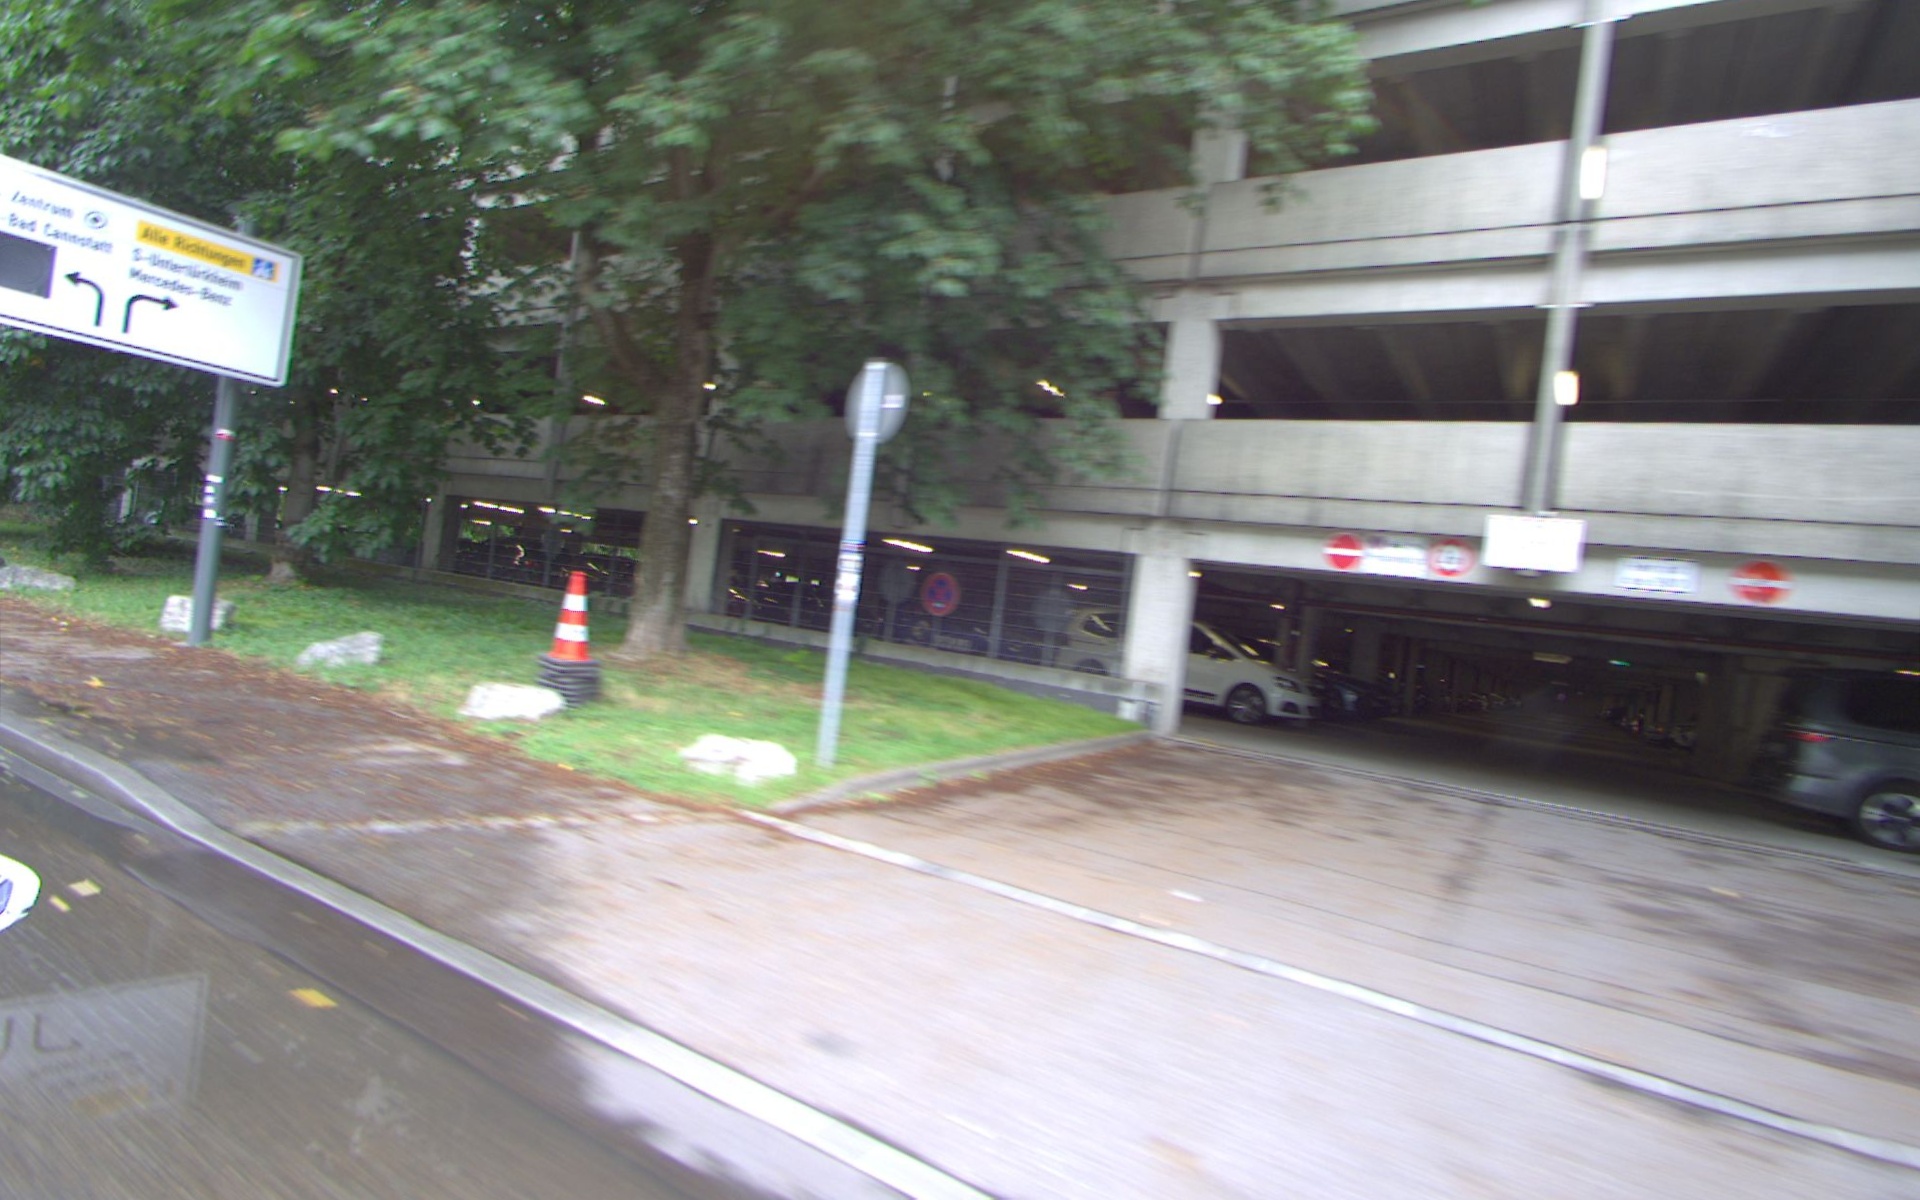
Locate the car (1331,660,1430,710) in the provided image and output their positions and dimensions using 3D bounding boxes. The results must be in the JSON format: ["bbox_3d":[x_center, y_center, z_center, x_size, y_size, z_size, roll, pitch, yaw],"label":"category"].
[{"bbox_3d":[15.715,3.184,37.645,3.151,1.444,1.512,6,-2,30],"label":"car"}]

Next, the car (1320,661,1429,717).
[{"bbox_3d":[13.683,2.930,33.233,3.058,1.444,1.442,6,-2,30],"label":"car"}]

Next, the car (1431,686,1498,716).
[{"bbox_3d":[27.977,5.579,55.777,3.151,1.225,1.512,6,-2,30],"label":"car"}]

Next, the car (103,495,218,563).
[{"bbox_3d":[-24.776,-2.222,31.137,3.658,1.728,1.483,5,-2,32],"label":"car"}]

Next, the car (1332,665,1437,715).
[{"bbox_3d":[14.909,3.151,35.333,3.151,1.350,1.512,6,-2,30],"label":"car"}]

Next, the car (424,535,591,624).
[{"bbox_3d":[-13.167,-0.601,29.204,4.597,2.037,1.998,5,-2,31],"label":"car"}]

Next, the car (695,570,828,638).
[{"bbox_3d":[-6.078,0.119,30.768,3.639,1.626,1.720,6,-2,30],"label":"car"}]

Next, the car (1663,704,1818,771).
[{"bbox_3d":[21.788,3.812,28.234,3.151,1.375,1.512,6,-2,30],"label":"car"}]

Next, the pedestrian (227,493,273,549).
[{"bbox_3d":[-18.329,-2.033,25.984,0.626,1.333,0.642,6,-2,31],"label":"pedestrian"}]

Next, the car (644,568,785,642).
[{"bbox_3d":[-7.125,0.144,29.151,3.639,1.699,1.720,6,-2,30],"label":"car"}]

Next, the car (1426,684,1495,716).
[{"bbox_3d":[26.726,5.338,53.713,3.151,1.225,1.512,6,-2,30],"label":"car"}]

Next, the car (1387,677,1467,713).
[{"bbox_3d":[21.521,4.356,46.349,3.151,1.225,1.512,6,-2,30],"label":"car"}]

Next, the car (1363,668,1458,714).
[{"bbox_3d":[17.504,3.541,39.107,3.151,1.380,1.512,6,-2,30],"label":"car"}]

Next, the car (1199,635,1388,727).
[{"bbox_3d":[7.458,1.791,22.521,3.639,1.563,1.720,6,-2,30],"label":"car"}]

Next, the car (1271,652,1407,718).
[{"bbox_3d":[11.817,2.650,31.369,3.639,1.563,1.720,6,-2,30],"label":"car"}]

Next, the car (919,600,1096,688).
[{"bbox_3d":[1.098,1.022,23.536,3.639,1.563,1.720,6,-2,30],"label":"car"}]

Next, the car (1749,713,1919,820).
[{"bbox_3d":[16.134,2.940,17.185,3.937,1.469,1.874,5,-3,35],"label":"car"}]

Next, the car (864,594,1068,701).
[{"bbox_3d":[0.094,0.972,20.787,3.794,1.728,1.589,5,-2,32],"label":"car"}]

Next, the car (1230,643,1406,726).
[{"bbox_3d":[8.609,2.012,24.219,3.639,1.484,1.720,6,-2,30],"label":"car"}]

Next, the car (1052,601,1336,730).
[{"bbox_3d":[4.143,1.143,18.110,4.591,1.728,1.589,5,-2,32],"label":"car"}]

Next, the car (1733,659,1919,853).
[{"bbox_3d":[11.420,1.898,10.725,4.656,1.856,1.923,7,-2,31],"label":"car"}]

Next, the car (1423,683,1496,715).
[{"bbox_3d":[25.668,5.067,51.701,3.151,1.225,1.512,6,-2,30],"label":"car"}]

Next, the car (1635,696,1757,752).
[{"bbox_3d":[25.395,4.276,34.838,3.151,1.444,1.512,6,-2,30],"label":"car"}]

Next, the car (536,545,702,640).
[{"bbox_3d":[-9.111,-0.213,26.850,3.935,2.037,1.997,5,-2,33],"label":"car"}]

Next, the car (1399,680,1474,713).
[{"bbox_3d":[23.586,4.770,49.803,3.151,1.225,1.512,6,-2,30],"label":"car"}]

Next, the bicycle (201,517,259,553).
[{"bbox_3d":[-18.664,-1.666,25.722,1.469,0.745,0.448,6,-2,24],"label":"bicycle"}]

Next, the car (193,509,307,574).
[{"bbox_3d":[-23.394,-1.942,33.107,3.707,1.728,1.583,5,-2,32],"label":"car"}]

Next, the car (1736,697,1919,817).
[{"bbox_3d":[14.326,2.473,15.153,3.937,1.469,1.874,5,-3,35],"label":"car"}]

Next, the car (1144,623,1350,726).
[{"bbox_3d":[5.850,1.505,20.553,3.629,1.604,1.720,6,-2,30],"label":"car"}]
